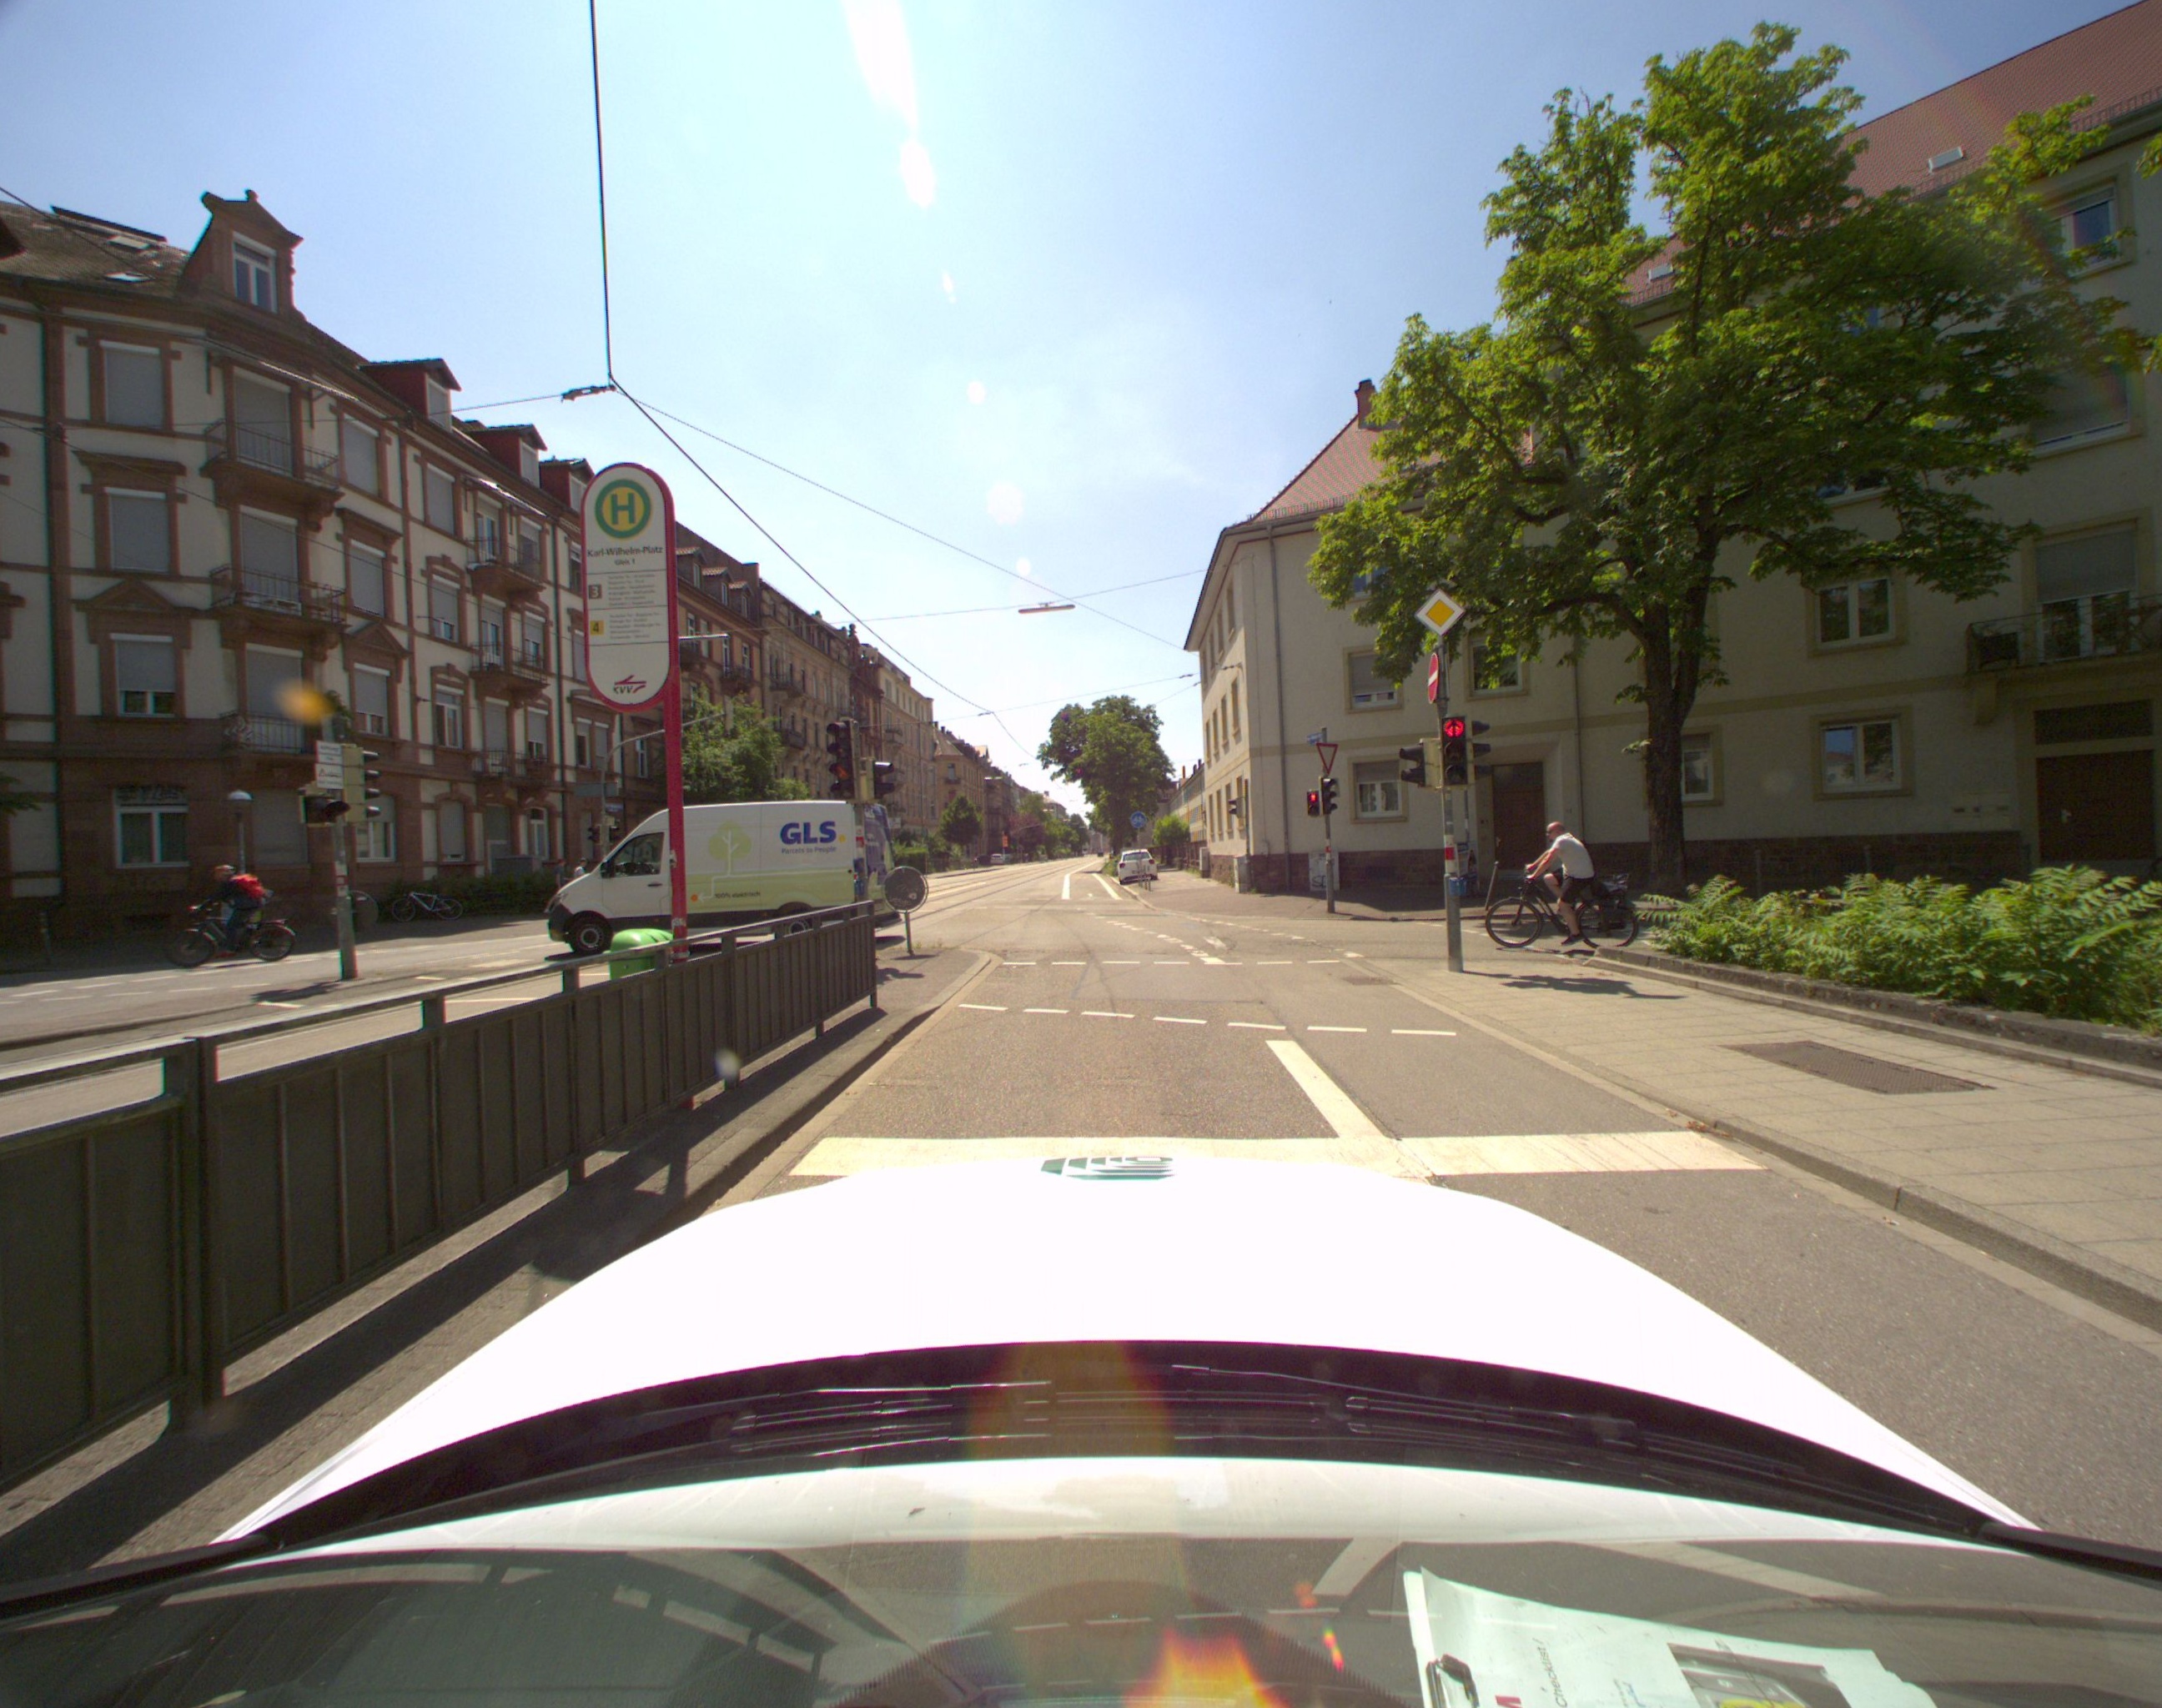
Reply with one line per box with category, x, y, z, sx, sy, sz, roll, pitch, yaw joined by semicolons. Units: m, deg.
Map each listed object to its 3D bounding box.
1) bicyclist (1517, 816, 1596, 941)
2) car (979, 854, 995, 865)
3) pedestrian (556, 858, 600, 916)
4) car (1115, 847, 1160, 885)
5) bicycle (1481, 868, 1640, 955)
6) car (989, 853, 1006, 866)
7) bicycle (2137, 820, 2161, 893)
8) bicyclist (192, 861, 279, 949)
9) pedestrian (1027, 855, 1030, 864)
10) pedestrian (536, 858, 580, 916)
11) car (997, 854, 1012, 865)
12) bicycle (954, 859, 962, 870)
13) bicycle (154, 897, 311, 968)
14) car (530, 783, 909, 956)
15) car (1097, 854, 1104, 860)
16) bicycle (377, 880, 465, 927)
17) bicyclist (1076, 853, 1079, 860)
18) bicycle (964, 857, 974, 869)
bicyclist;6.341;0.320;10.871;0.838;1.592;0.704;-2;-1;31
car;-14.334;0.867;124.468;1.912;1.715;4.001;0;-1;2
pedestrian;-16.156;1.042;26.187;0.809;1.822;0.878;0;1;23
car;2.527;0.522;37.422;1.808;1.516;4.001;-4;-1;2
bicycle;6.364;0.741;10.865;1.743;1.056;0.704;-2;-1;31
car;-11.882;0.783;116.066;1.912;1.715;4.001;0;-1;2
bicycle;17.013;0.017;12.085;0.527;1.104;1.589;-2;0;-34
bicyclist;-15.739;0.922;15.186;0.899;1.561;0.717;-1;-1;-22
pedestrian;-8.645;0.842;133.004;0.404;1.461;0.436;-2;0;1
pedestrian;-16.920;1.050;26.342;0.809;1.822;0.878;0;1;23
car;-11.661;0.846;124.330;1.912;1.715;4.001;0;-1;2
bicycle;-12.153;1.011;80.500;0.677;1.064;1.912;-2;0;-9
bicycle;-15.830;1.438;15.254;1.927;1.173;0.644;-1;-1;-21
car;-6.340;0.275;14.836;5.786;2.673;2.275;-2;-1;2
car;5.208;0.755;216.217;1.818;1.519;4.001;0;0;2
bicycle;-19.552;1.433;24.161;0.557;1.294;1.975;-1;-1;43
bicyclist;-0.875;0.645;225.271;0.724;1.818;1.080;0;-1;3
bicycle;-11.709;0.937;85.137;0.675;1.278;1.918;-2;0;-1
